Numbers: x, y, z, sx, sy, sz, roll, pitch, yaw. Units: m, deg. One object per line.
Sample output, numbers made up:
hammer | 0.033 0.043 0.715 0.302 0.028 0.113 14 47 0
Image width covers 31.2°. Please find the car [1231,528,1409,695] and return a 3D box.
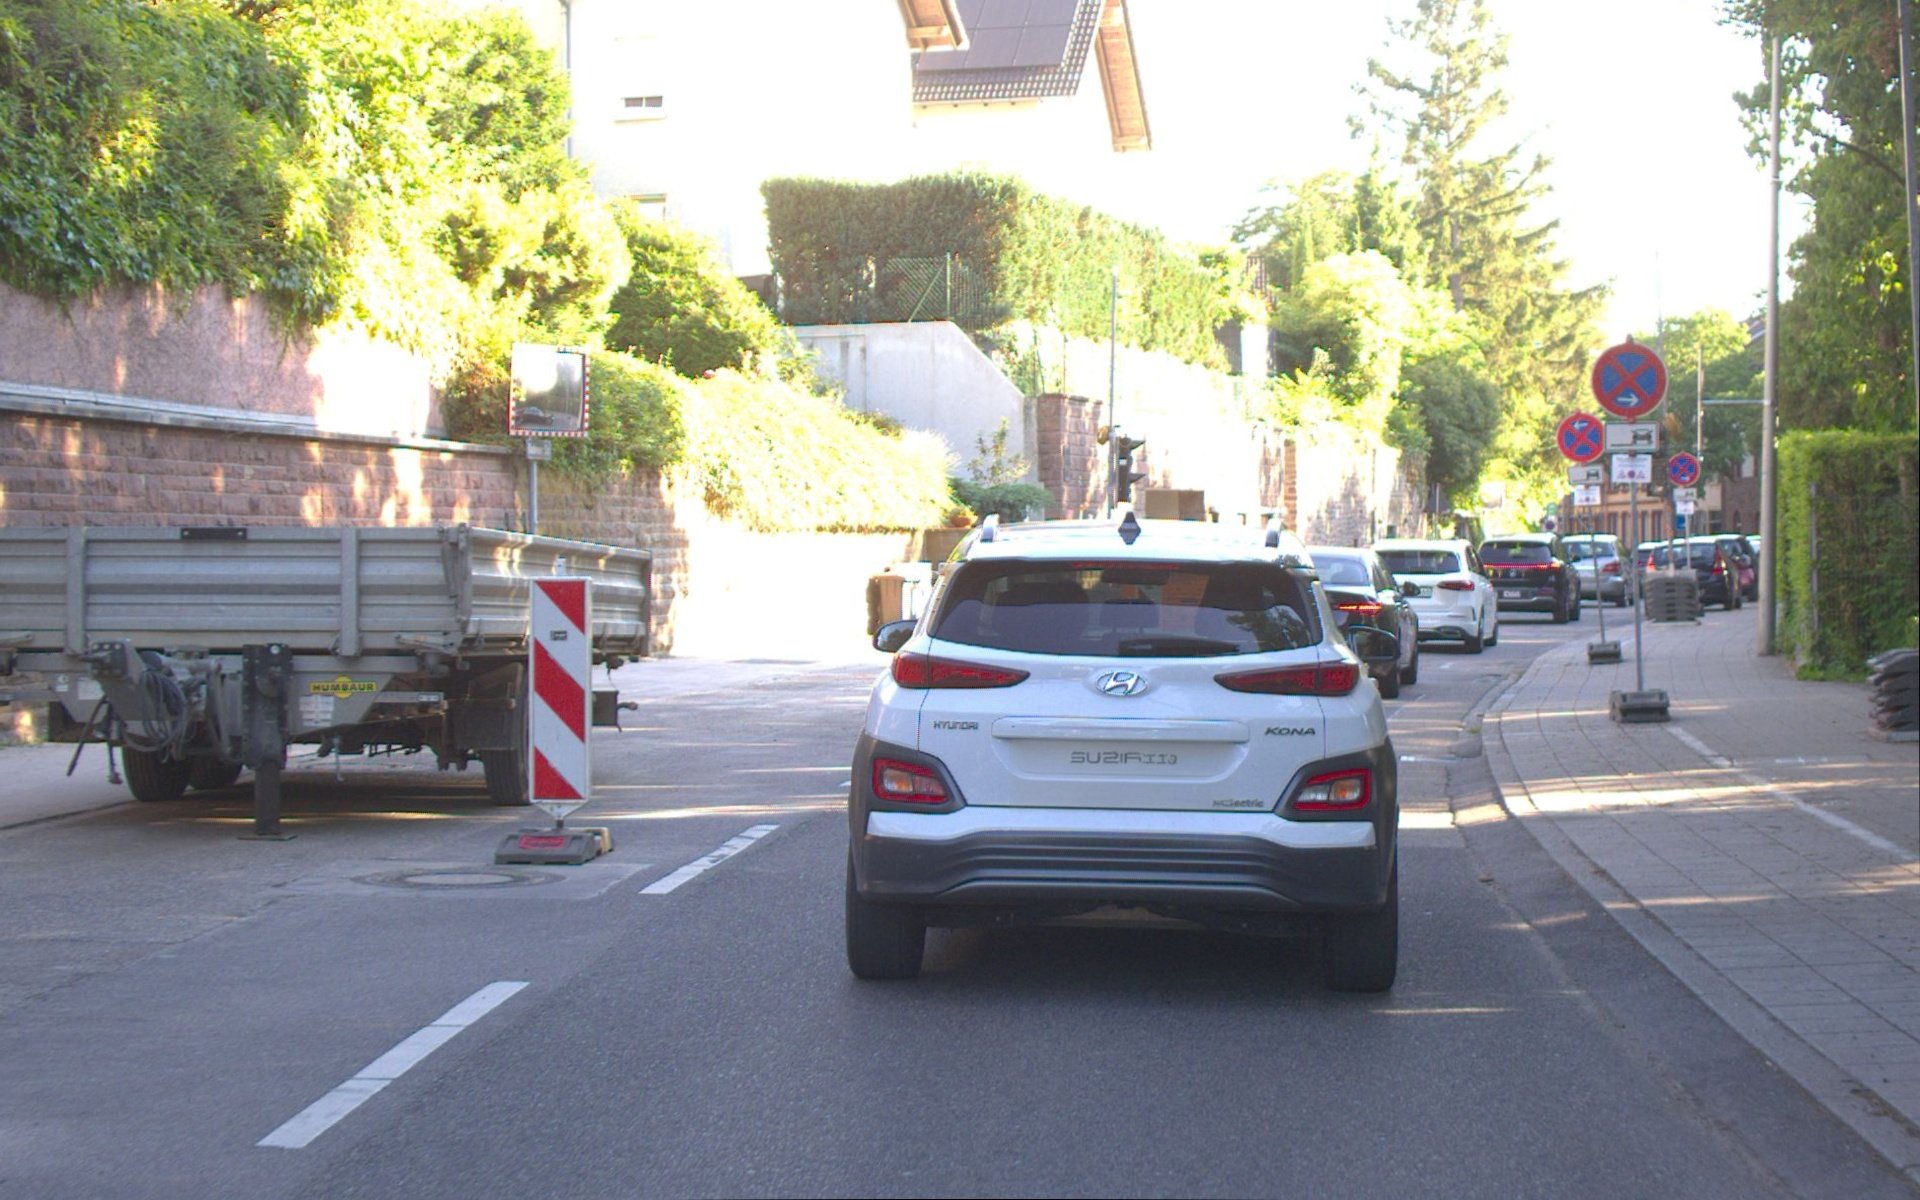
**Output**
car | 3.580 0.076 33.784 1.512 1.528 3.546 -1 1 9

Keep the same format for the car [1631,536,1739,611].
car | 14.592 -0.556 69.053 1.795 1.436 3.997 -1 1 16

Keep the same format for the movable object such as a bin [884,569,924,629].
movable object such as a bin | -0.826 -0.017 50.728 0.456 0.881 0.500 1 1 15

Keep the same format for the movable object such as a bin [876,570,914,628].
movable object such as a bin | -0.953 -0.017 50.275 0.454 0.831 0.392 0 1 15

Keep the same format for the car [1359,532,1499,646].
car | 6.442 -0.183 47.027 1.571 1.472 3.546 1 1 13

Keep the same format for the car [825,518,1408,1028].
car | 0.623 0.492 12.595 1.772 1.537 4.000 1 1 4

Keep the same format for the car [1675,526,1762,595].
car | 17.401 -0.923 78.832 1.654 1.559 2.870 0 1 19

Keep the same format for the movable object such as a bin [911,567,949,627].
movable object such as a bin | -0.453 -0.048 52.238 0.456 0.881 0.500 1 1 15

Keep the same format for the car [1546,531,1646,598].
car | 14.241 -0.808 76.812 1.695 1.442 3.878 0 1 18

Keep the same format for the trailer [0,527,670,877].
trailer | -3.483 0.369 18.403 2.640 1.484 7.117 1 1 5

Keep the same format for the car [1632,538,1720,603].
car | 18.803 -0.791 90.159 1.695 1.499 3.627 -3 1 20

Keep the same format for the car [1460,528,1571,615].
car | 10.056 -0.534 62.080 1.695 1.528 3.879 0 1 13
